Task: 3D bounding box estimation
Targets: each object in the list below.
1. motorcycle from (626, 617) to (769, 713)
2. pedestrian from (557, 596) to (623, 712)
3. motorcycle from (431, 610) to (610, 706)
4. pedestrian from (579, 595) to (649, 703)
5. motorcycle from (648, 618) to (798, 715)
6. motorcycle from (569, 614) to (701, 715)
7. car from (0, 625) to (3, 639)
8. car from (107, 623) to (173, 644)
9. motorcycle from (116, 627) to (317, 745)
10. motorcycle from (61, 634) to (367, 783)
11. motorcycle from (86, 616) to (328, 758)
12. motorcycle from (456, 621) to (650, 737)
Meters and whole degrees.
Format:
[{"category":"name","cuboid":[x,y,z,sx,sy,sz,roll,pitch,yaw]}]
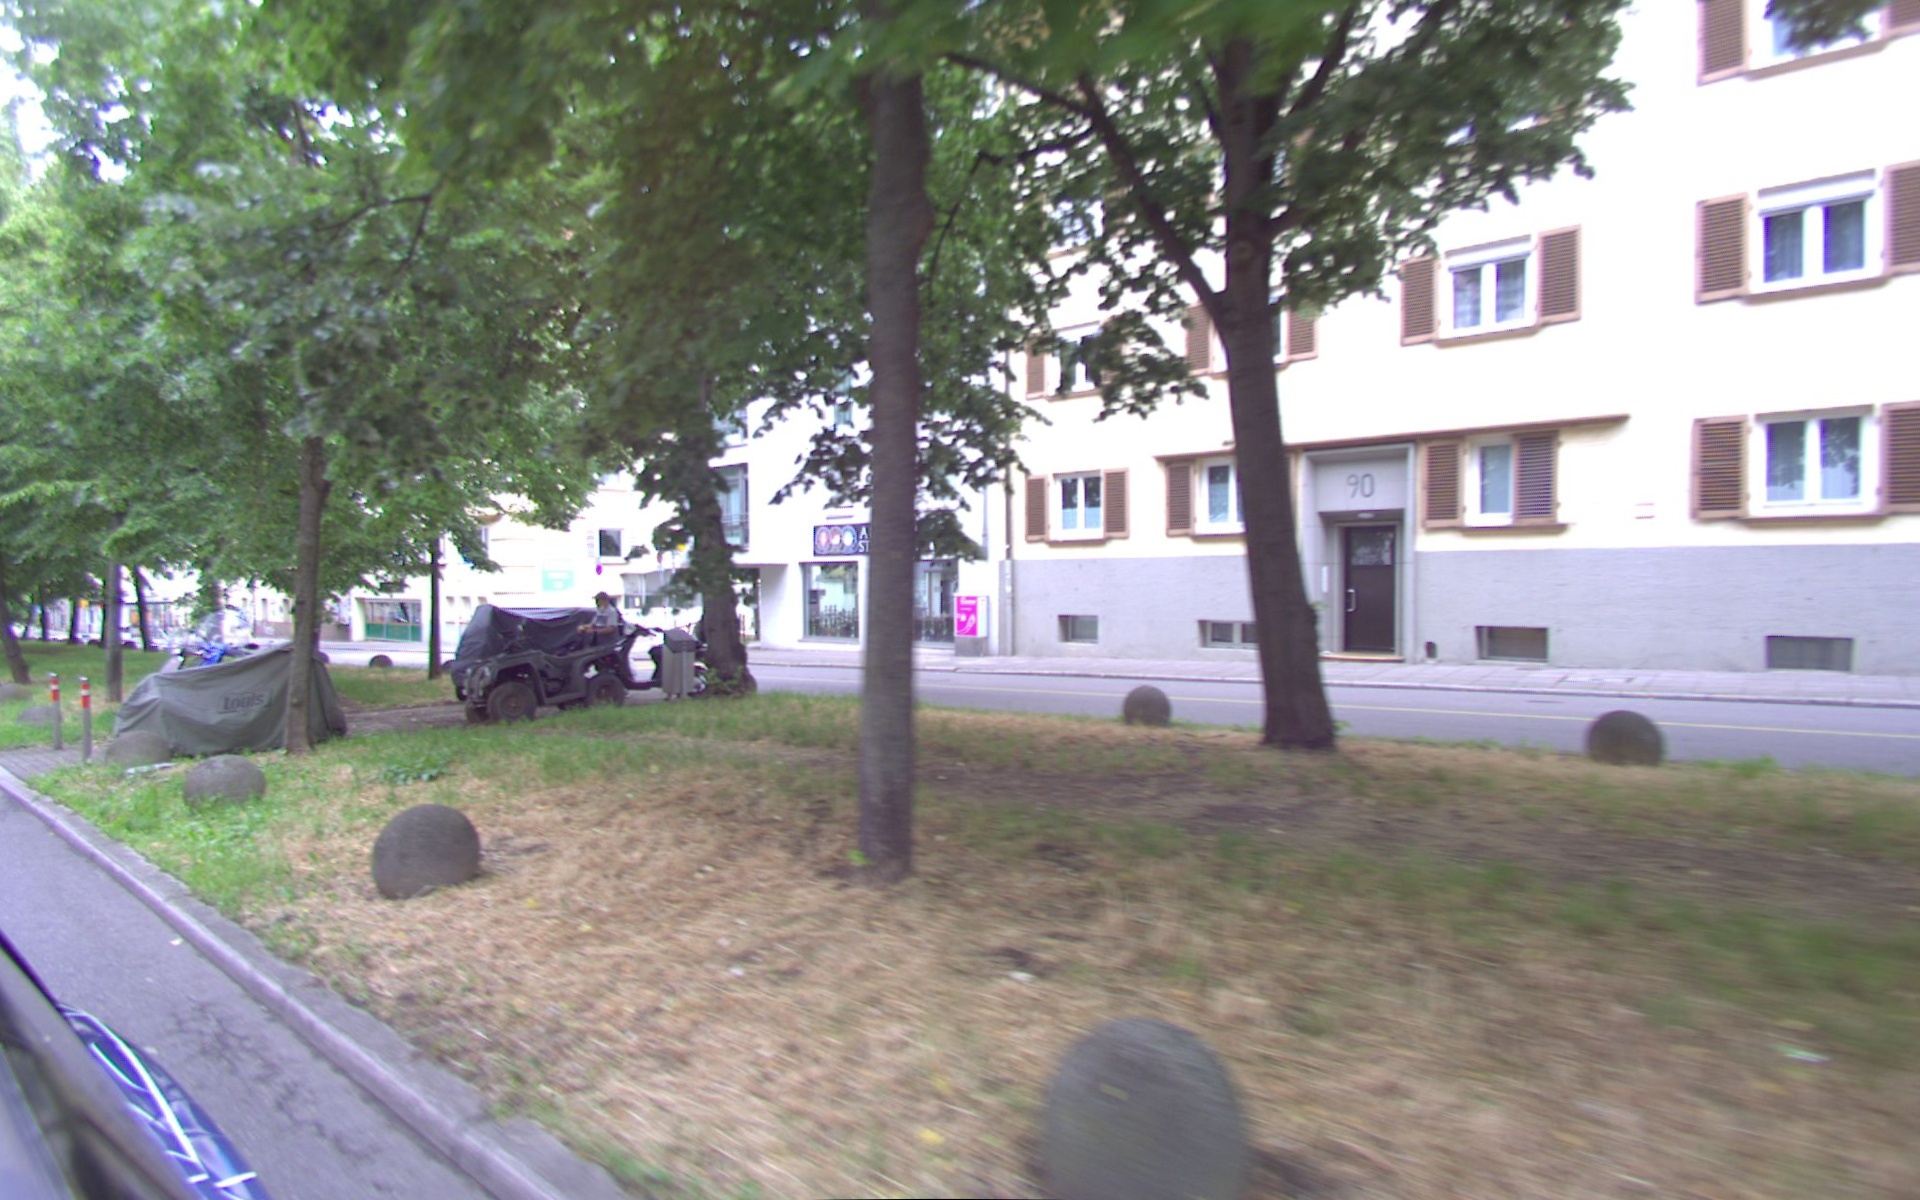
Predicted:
[{"category":"motorcycle","cuboid":[-3.771,0.906,14.734,0.515,1.245,2.089,-2,0,39]},{"category":"pedestrian","cuboid":[-5.398,0.769,14.778,0.579,1.628,0.656,-2,0,39]},{"category":"motorcycle","cuboid":[-6.883,0.871,15.976,1.044,1.327,2.359,-2,0,39]},{"category":"pedestrian","cuboid":[-5.374,0.750,15.707,0.762,1.625,0.629,-3,0,33]},{"category":"motorcycle","cuboid":[-3.300,0.888,14.273,0.622,1.245,2.109,0,0,40]},{"category":"motorcycle","cuboid":[-4.663,0.889,14.612,0.624,1.349,1.745,-1,-1,39]},{"category":"car","cuboid":[-110.315,3.681,114.892,4.362,1.641,1.929,-2,-1,40]},{"category":"car","cuboid":[-72.458,2.979,89.457,2.048,1.430,4.242,-3,2,43]},{"category":"motorcycle","cuboid":[-9.438,1.038,12.903,0.892,1.306,1.906,0,1,39]},{"category":"motorcycle","cuboid":[-7.606,1.040,10.431,1.032,1.245,2.332,-4,-1,39]},{"category":"motorcycle","cuboid":[-8.935,0.969,12.084,0.874,1.449,2.170,-2,0,43]},{"category":"motorcycle","cuboid":[-4.984,0.919,12.478,2.005,1.245,0.897,-1,-1,-44]}]
